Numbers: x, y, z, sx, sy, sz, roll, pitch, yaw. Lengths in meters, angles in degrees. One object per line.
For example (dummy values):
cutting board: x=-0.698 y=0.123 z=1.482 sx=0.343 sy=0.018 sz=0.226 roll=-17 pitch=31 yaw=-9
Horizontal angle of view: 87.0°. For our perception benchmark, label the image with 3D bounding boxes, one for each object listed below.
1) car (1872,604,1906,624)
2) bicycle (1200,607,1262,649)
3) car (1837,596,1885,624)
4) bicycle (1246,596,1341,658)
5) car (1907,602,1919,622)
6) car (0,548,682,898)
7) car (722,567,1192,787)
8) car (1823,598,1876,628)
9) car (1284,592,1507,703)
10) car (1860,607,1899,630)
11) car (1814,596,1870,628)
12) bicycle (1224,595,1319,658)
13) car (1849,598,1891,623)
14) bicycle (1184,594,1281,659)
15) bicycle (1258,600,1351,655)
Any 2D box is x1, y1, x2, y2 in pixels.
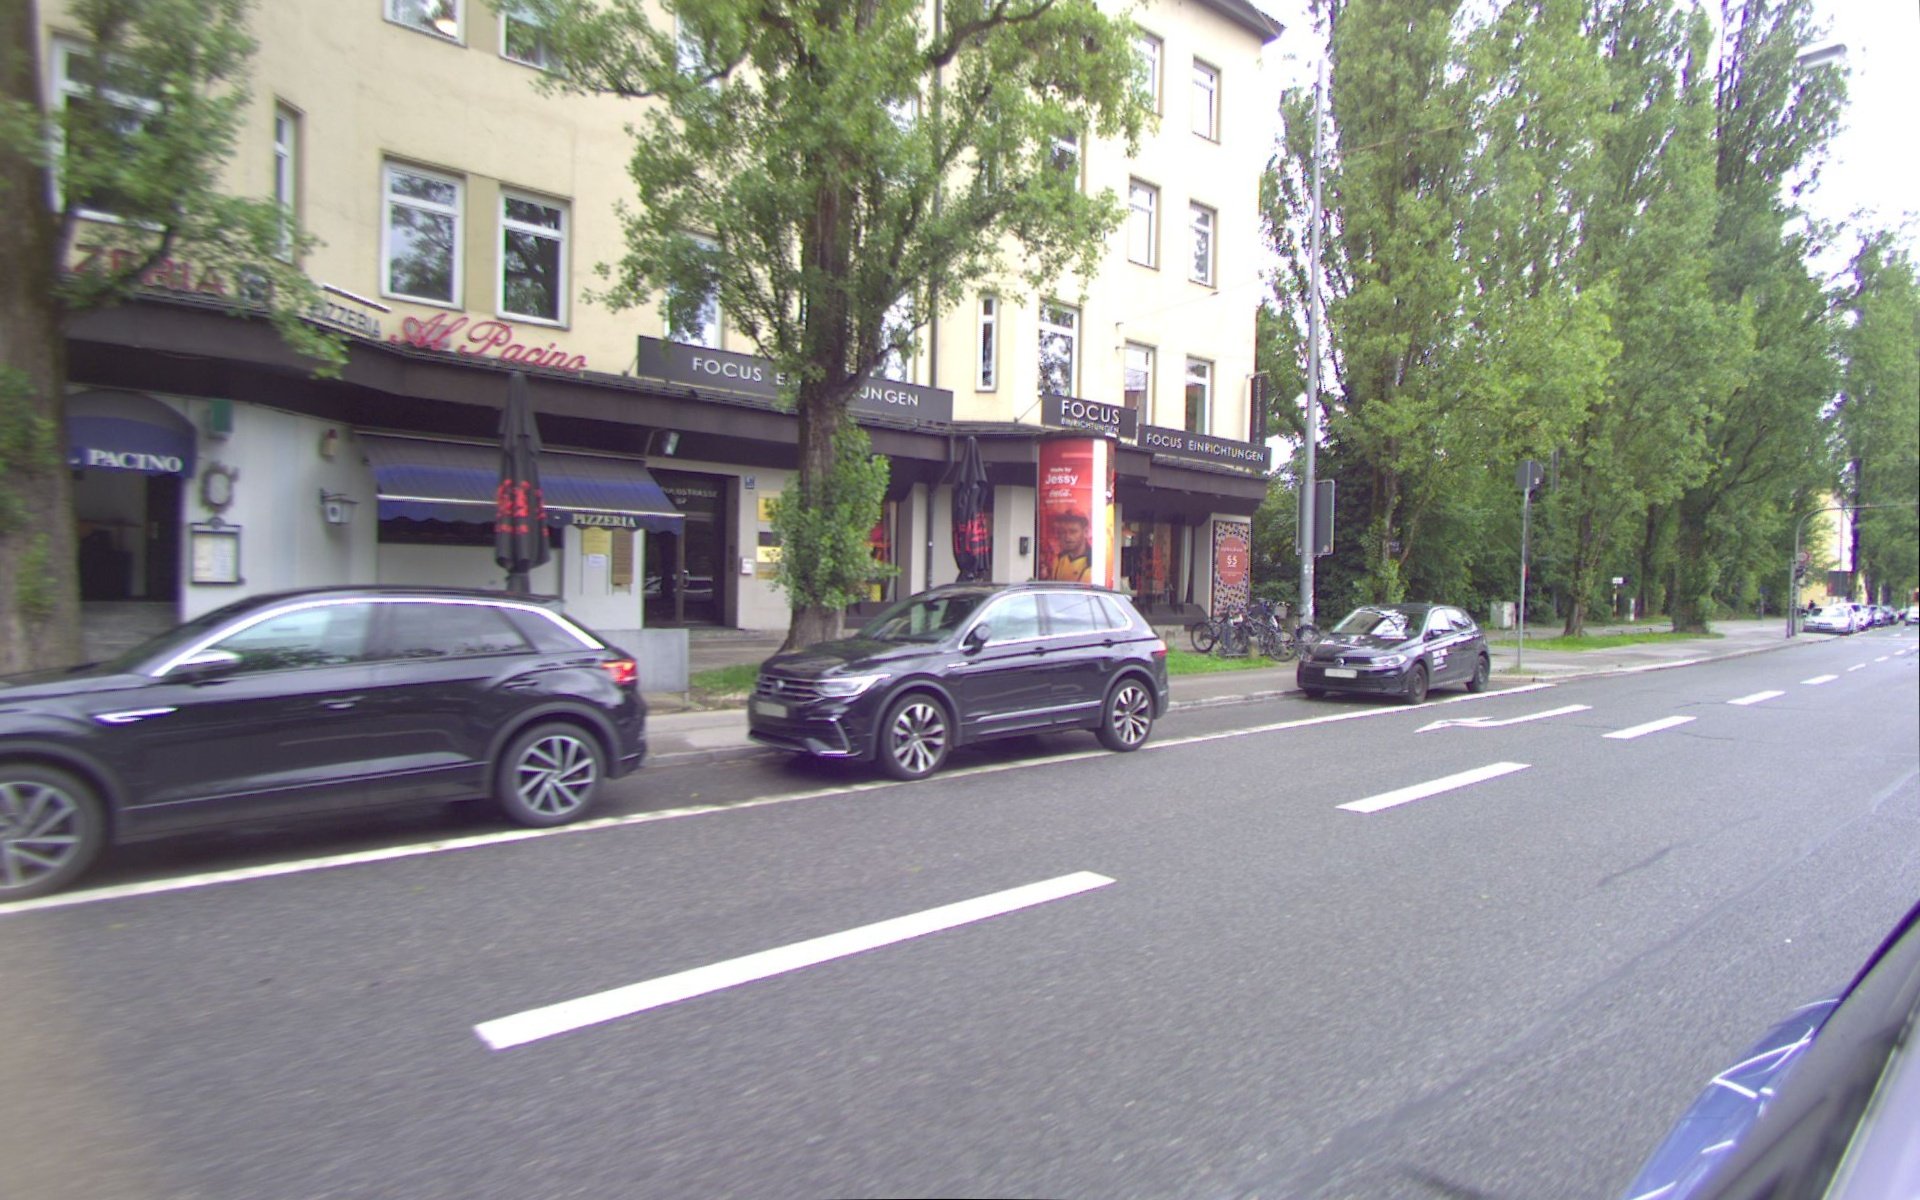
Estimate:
car: x=75.858 y=1.127 z=82.642 sx=4.071 sy=1.504 sz=1.782 roll=0 pitch=1 yaw=-44
bicycle: x=6.130 y=0.621 z=22.933 sx=0.382 sy=0.895 sz=1.369 roll=1 pitch=1 yaw=-42
car: x=51.942 y=0.552 z=58.324 sx=4.071 sy=1.504 sz=1.782 roll=0 pitch=1 yaw=-44
bicycle: x=6.999 y=0.544 z=21.320 sx=0.488 sy=1.200 sz=1.886 roll=1 pitch=1 yaw=-42
car: x=75.107 y=0.945 z=78.834 sx=4.071 sy=1.504 sz=1.782 roll=0 pitch=1 yaw=-44
car: x=-4.082 y=0.548 z=6.204 sx=4.229 sy=1.632 sz=1.803 roll=0 pitch=1 yaw=-40
car: x=0.148 y=0.556 z=9.629 sx=4.391 sy=1.632 sz=1.725 roll=0 pitch=1 yaw=-40
car: x=48.286 y=0.676 z=54.901 sx=4.188 sy=1.504 sz=1.782 roll=0 pitch=1 yaw=-44
car: x=6.873 y=0.643 z=15.793 sx=3.933 sy=1.484 sz=1.801 roll=0 pitch=1 yaw=-43
car: x=64.163 y=1.273 z=70.592 sx=4.071 sy=1.504 sz=1.782 roll=0 pitch=1 yaw=-44
car: x=44.201 y=0.558 z=50.693 sx=4.281 sy=1.504 sz=1.782 roll=0 pitch=1 yaw=-44
bicycle: x=6.421 y=0.519 z=20.937 sx=0.488 sy=1.200 sz=1.886 roll=1 pitch=1 yaw=-42
car: x=59.368 y=0.668 z=66.006 sx=4.071 sy=1.504 sz=1.782 roll=0 pitch=1 yaw=-44
bicycle: x=5.389 y=0.499 z=20.088 sx=0.488 sy=1.200 sz=1.886 roll=1 pitch=1 yaw=-42
bicycle: x=7.363 y=0.568 z=21.692 sx=0.488 sy=1.095 sz=1.886 roll=1 pitch=1 yaw=-42
